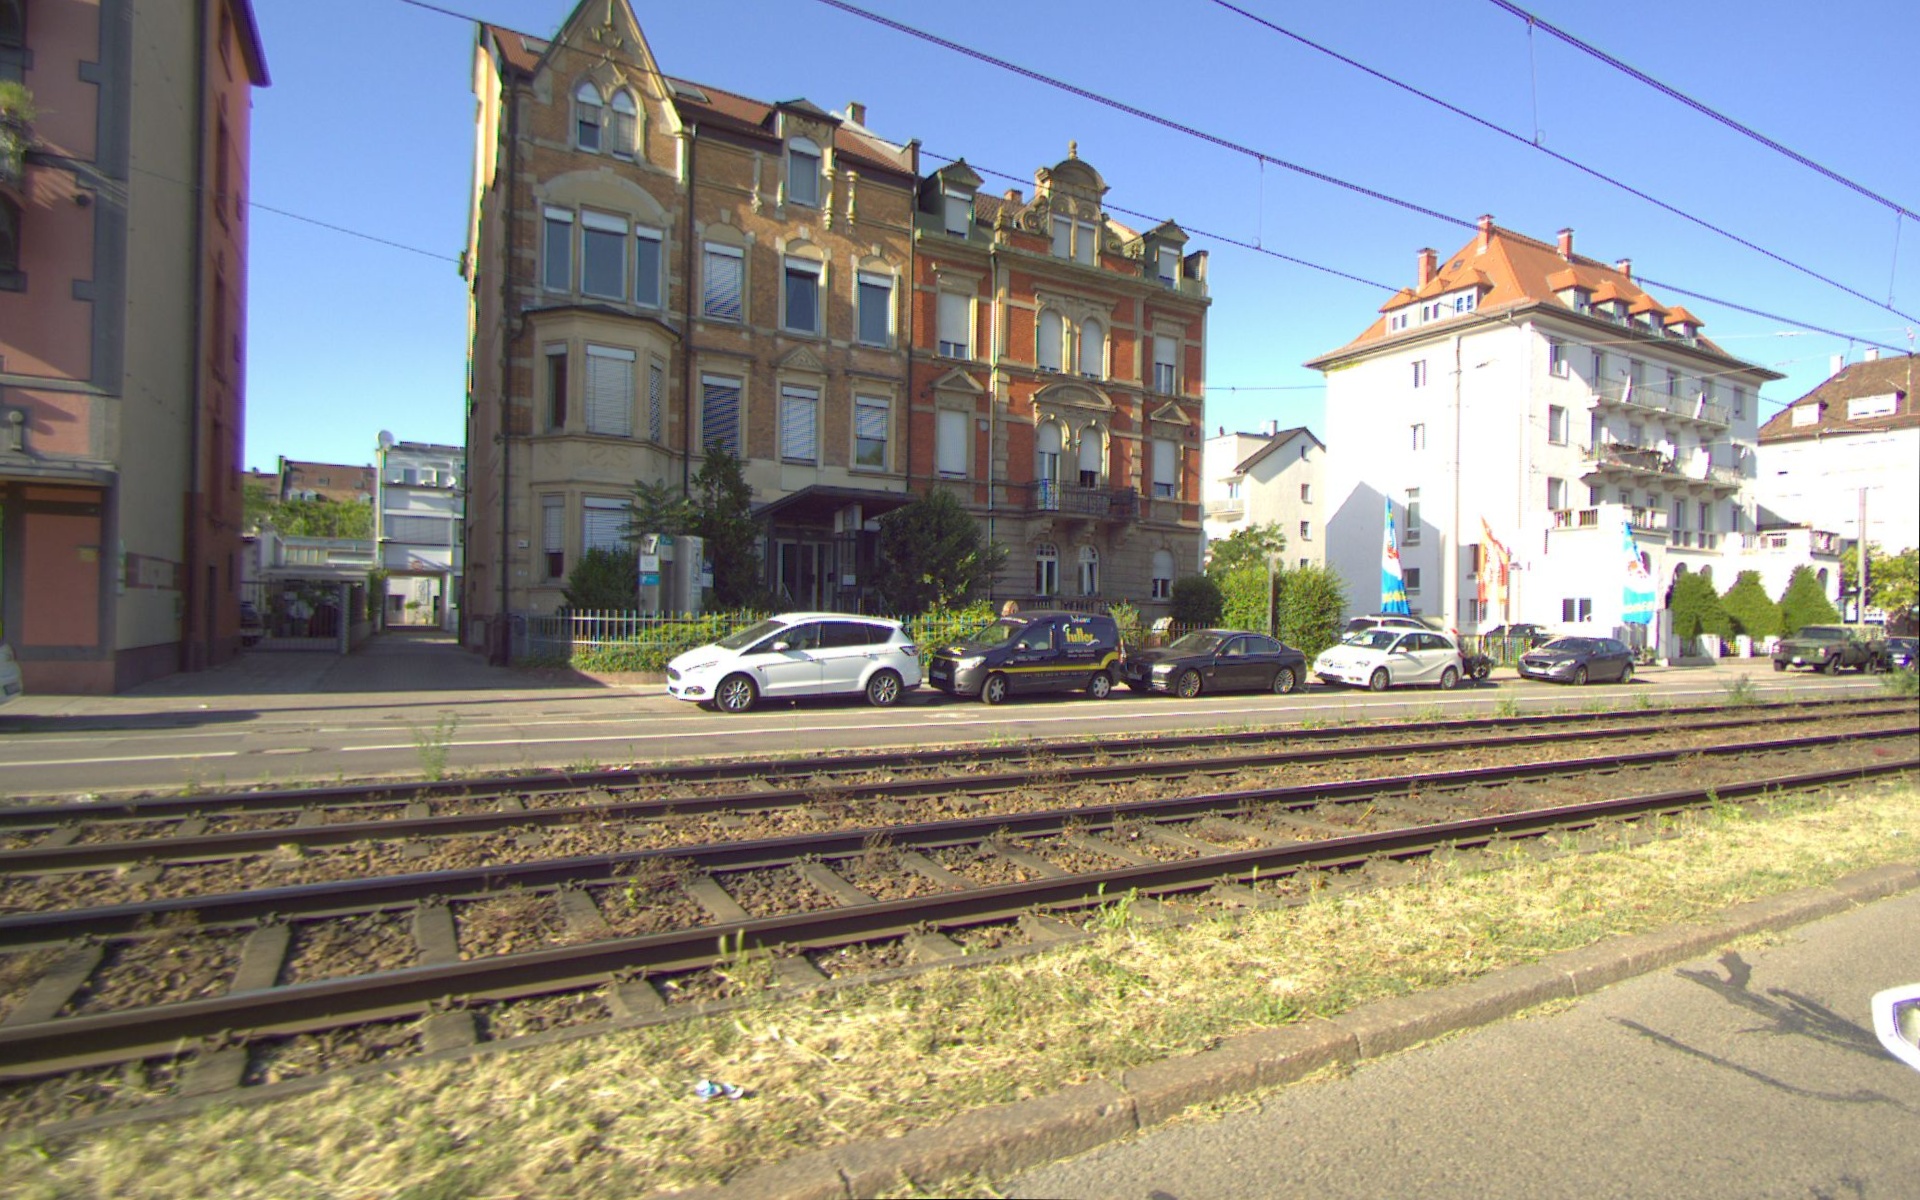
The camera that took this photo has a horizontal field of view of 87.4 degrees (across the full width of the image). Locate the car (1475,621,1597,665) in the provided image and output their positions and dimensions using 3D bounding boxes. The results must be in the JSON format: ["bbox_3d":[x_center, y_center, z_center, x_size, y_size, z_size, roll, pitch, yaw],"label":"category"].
[{"bbox_3d":[23.749,1.740,41.566,1.921,1.655,4.124,-1,-1,-19],"label":"car"}]

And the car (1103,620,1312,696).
[{"bbox_3d":[5.893,1.321,23.796,4.784,1.581,1.912,1,1,-30],"label":"car"}]

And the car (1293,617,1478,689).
[{"bbox_3d":[11.366,1.386,26.765,4.780,1.717,1.913,1,1,-28],"label":"car"}]

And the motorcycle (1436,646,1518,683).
[{"bbox_3d":[15.134,1.898,29.419,2.116,0.967,0.826,3,0,-16],"label":"motorcycle"}]

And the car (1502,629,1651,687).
[{"bbox_3d":[19.233,1.760,31.306,4.787,1.480,1.910,1,4,-31],"label":"car"}]

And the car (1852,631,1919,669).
[{"bbox_3d":[41.012,2.186,43.921,4.107,1.527,1.628,3,0,-28],"label":"car"}]

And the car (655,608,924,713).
[{"bbox_3d":[-3.137,1.068,18.701,4.572,1.706,1.912,1,0,-30],"label":"car"}]

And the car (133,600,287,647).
[{"bbox_3d":[-25.955,0.822,34.875,3.922,1.530,1.800,1,-1,-2],"label":"car"}]

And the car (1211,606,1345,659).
[{"bbox_3d":[11.396,1.179,35.939,4.502,1.677,1.898,3,-3,-26],"label":"car"}]

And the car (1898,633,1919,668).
[{"bbox_3d":[45.659,2.394,46.705,3.951,1.530,1.786,2,1,-29],"label":"car"}]

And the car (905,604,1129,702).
[{"bbox_3d":[1.249,1.059,21.155,4.451,1.804,1.909,1,1,-34],"label":"car"}]

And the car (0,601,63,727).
[{"bbox_3d":[-14.398,0.760,12.438,4.574,1.559,1.911,2,0,-31],"label":"car"}]

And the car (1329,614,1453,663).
[{"bbox_3d":[16.518,1.476,38.508,4.502,1.677,1.898,3,-3,-26],"label":"car"}]

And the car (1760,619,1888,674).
[{"bbox_3d":[35.531,1.894,41.270,5.521,2.037,2.069,2,1,-28],"label":"car"}]
